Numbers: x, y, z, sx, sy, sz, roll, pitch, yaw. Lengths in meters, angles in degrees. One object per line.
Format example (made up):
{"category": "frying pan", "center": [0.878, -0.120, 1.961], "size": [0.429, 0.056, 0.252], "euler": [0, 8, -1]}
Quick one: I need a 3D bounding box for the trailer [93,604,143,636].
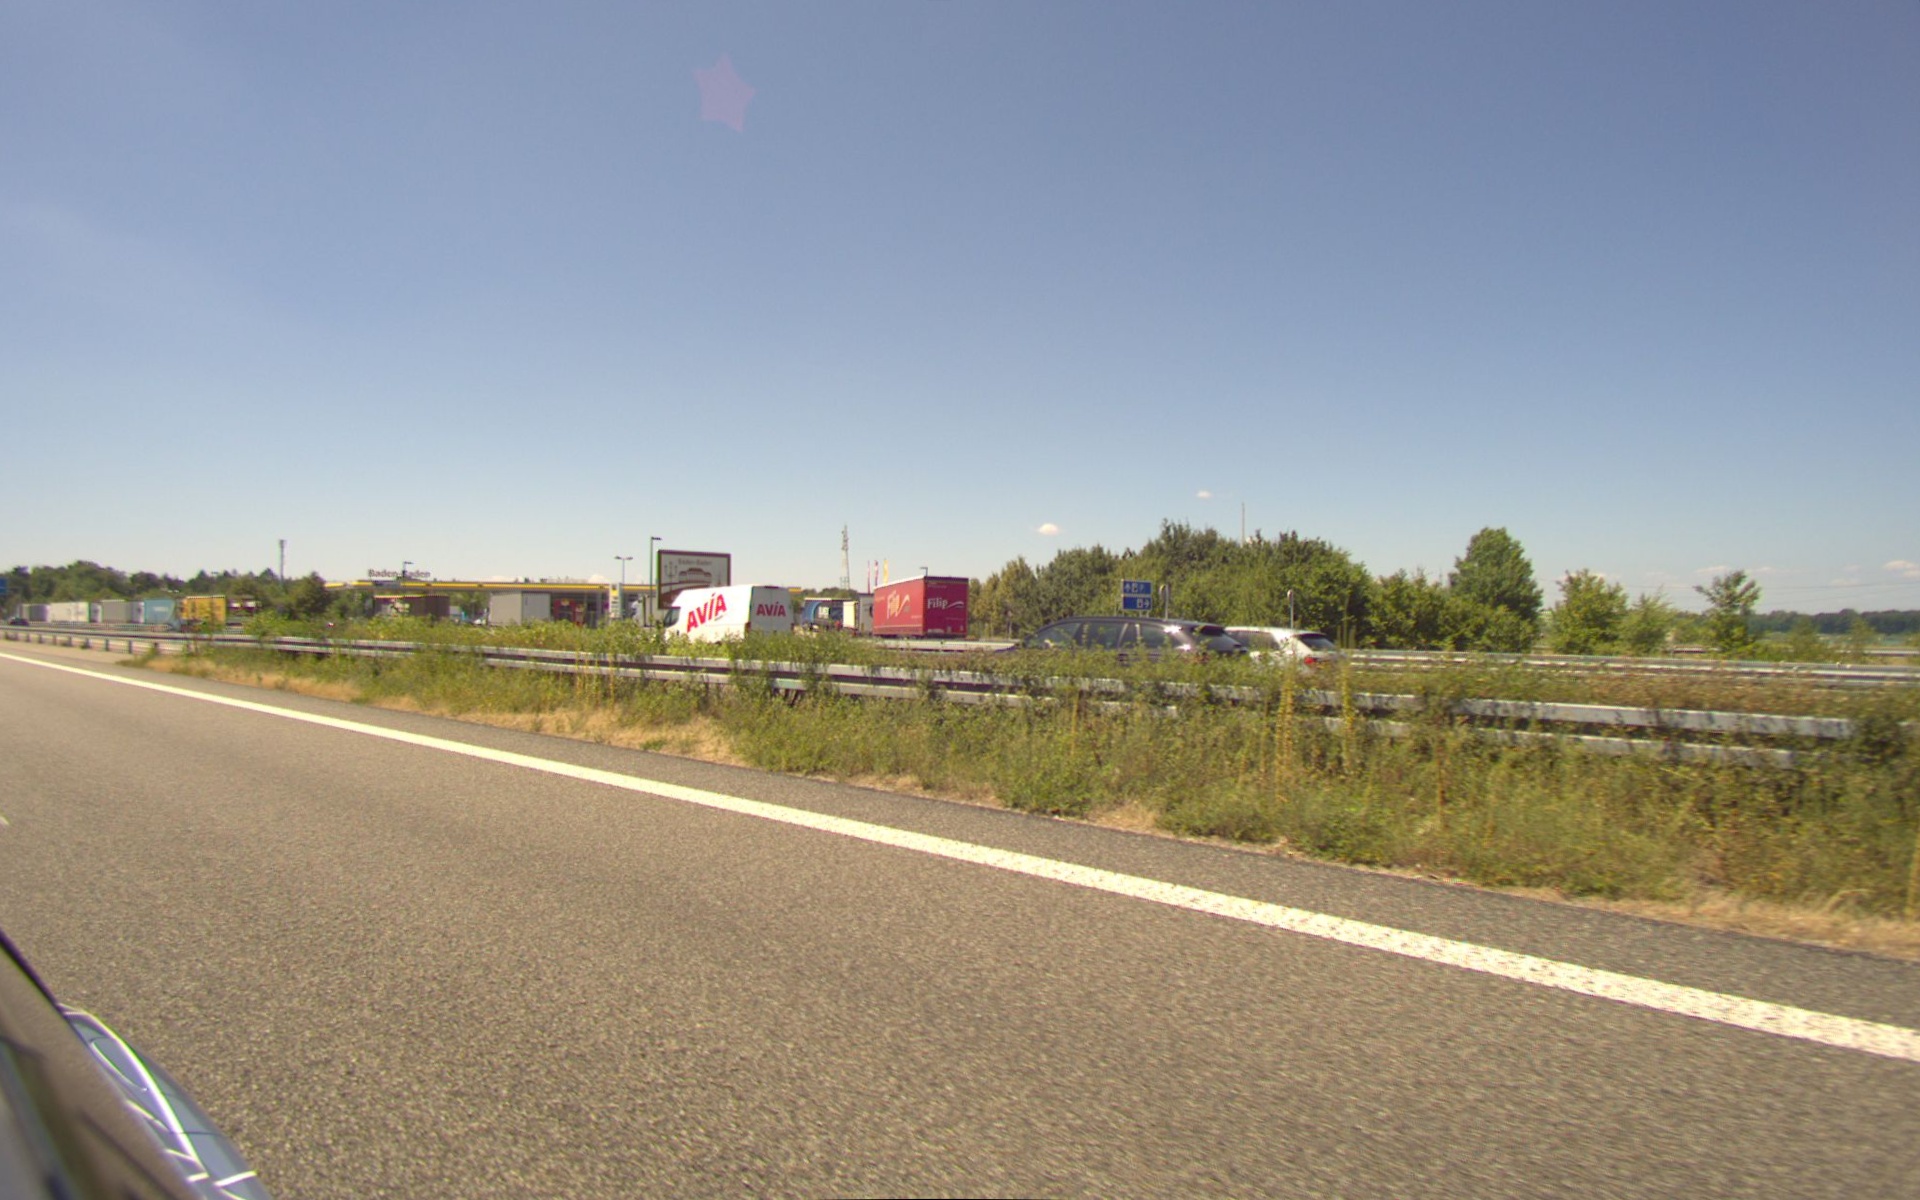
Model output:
{"category": "trailer", "center": [-113.054, 2.678, 135.763], "size": [11.004, 4.189, 3.082], "euler": [-1, 0, 39]}

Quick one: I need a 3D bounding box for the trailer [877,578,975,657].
{"category": "trailer", "center": [-2.225, 0.923, 59.455], "size": [3.078, 4.086, 11.346], "euler": [-1, 0, -15]}

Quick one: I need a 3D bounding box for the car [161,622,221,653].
{"category": "car", "center": [-49.224, 2.384, 64.735], "size": [5.043, 1.824, 1.934], "euler": [-1, 0, 40]}

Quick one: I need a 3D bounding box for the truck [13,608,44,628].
{"category": "truck", "center": [-179.963, 3.529, 195.460], "size": [13.597, 3.670, 2.771], "euler": [-1, 0, 41]}

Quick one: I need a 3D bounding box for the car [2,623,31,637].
{"category": "car", "center": [-105.241, 3.353, 112.844], "size": [4.543, 1.409, 1.849], "euler": [-1, -4, 41]}

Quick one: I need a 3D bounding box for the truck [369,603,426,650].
{"category": "truck", "center": [-61.040, 2.869, 109.709], "size": [7.877, 4.886, 2.993], "euler": [-1, 0, 42]}

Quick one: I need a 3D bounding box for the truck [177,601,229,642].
{"category": "truck", "center": [-83.463, 2.339, 111.475], "size": [7.912, 4.232, 2.805], "euler": [-1, 0, 40]}

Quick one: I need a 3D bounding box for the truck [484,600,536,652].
{"category": "truck", "center": [-44.669, 2.528, 100.307], "size": [3.257, 4.886, 7.645], "euler": [-1, 0, -34]}

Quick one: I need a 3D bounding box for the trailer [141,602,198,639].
{"category": "trailer", "center": [-94.137, 2.439, 120.369], "size": [12.073, 4.180, 2.805], "euler": [-1, 0, 40]}

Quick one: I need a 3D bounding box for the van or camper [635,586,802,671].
{"category": "van or camper", "center": [-8.117, 0.901, 33.566], "size": [6.386, 2.543, 2.038], "euler": [-1, 0, 41]}

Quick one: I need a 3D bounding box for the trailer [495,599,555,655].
{"category": "trailer", "center": [-40.817, 2.454, 94.674], "size": [3.257, 4.911, 9.708], "euler": [-1, 0, -34]}

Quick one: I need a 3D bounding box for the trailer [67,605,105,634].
{"category": "trailer", "center": [-129.915, 2.902, 150.339], "size": [10.506, 4.250, 2.572], "euler": [-1, 0, 40]}

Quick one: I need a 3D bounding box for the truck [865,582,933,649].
{"category": "truck", "center": [-4.118, 0.946, 66.316], "size": [3.075, 4.080, 6.664], "euler": [-1, 0, -15]}

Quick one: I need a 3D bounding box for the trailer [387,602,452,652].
{"category": "trailer", "center": [-56.422, 2.781, 105.496], "size": [9.132, 4.886, 3.000], "euler": [-1, 0, 42]}

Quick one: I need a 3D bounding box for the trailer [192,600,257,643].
{"category": "trailer", "center": [-77.359, 2.208, 106.333], "size": [11.073, 4.251, 2.805], "euler": [-1, 0, 40]}

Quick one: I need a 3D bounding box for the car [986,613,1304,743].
{"category": "car", "center": [2.488, 0.977, 14.183], "size": [4.054, 1.507, 1.760], "euler": [-1, 0, 41]}

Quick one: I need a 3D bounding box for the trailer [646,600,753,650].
{"category": "trailer", "center": [-24.897, 2.329, 95.947], "size": [12.919, 4.390, 3.266], "euler": [-1, 0, 43]}

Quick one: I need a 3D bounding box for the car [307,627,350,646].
{"category": "car", "center": [-54.107, 3.070, 86.657], "size": [4.505, 1.500, 1.794], "euler": [-1, 0, 40]}

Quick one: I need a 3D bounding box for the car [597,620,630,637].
{"category": "car", "center": [-44.501, 3.669, 130.025], "size": [4.780, 2.003, 1.794], "euler": [-1, 0, 40]}

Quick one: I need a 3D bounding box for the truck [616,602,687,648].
{"category": "truck", "center": [-31.006, 2.445, 101.576], "size": [7.624, 4.390, 3.266], "euler": [-1, 0, 42]}

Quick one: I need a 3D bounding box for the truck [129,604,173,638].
{"category": "truck", "center": [-100.381, 2.598, 125.531], "size": [7.083, 4.104, 2.821], "euler": [-1, 0, 40]}
